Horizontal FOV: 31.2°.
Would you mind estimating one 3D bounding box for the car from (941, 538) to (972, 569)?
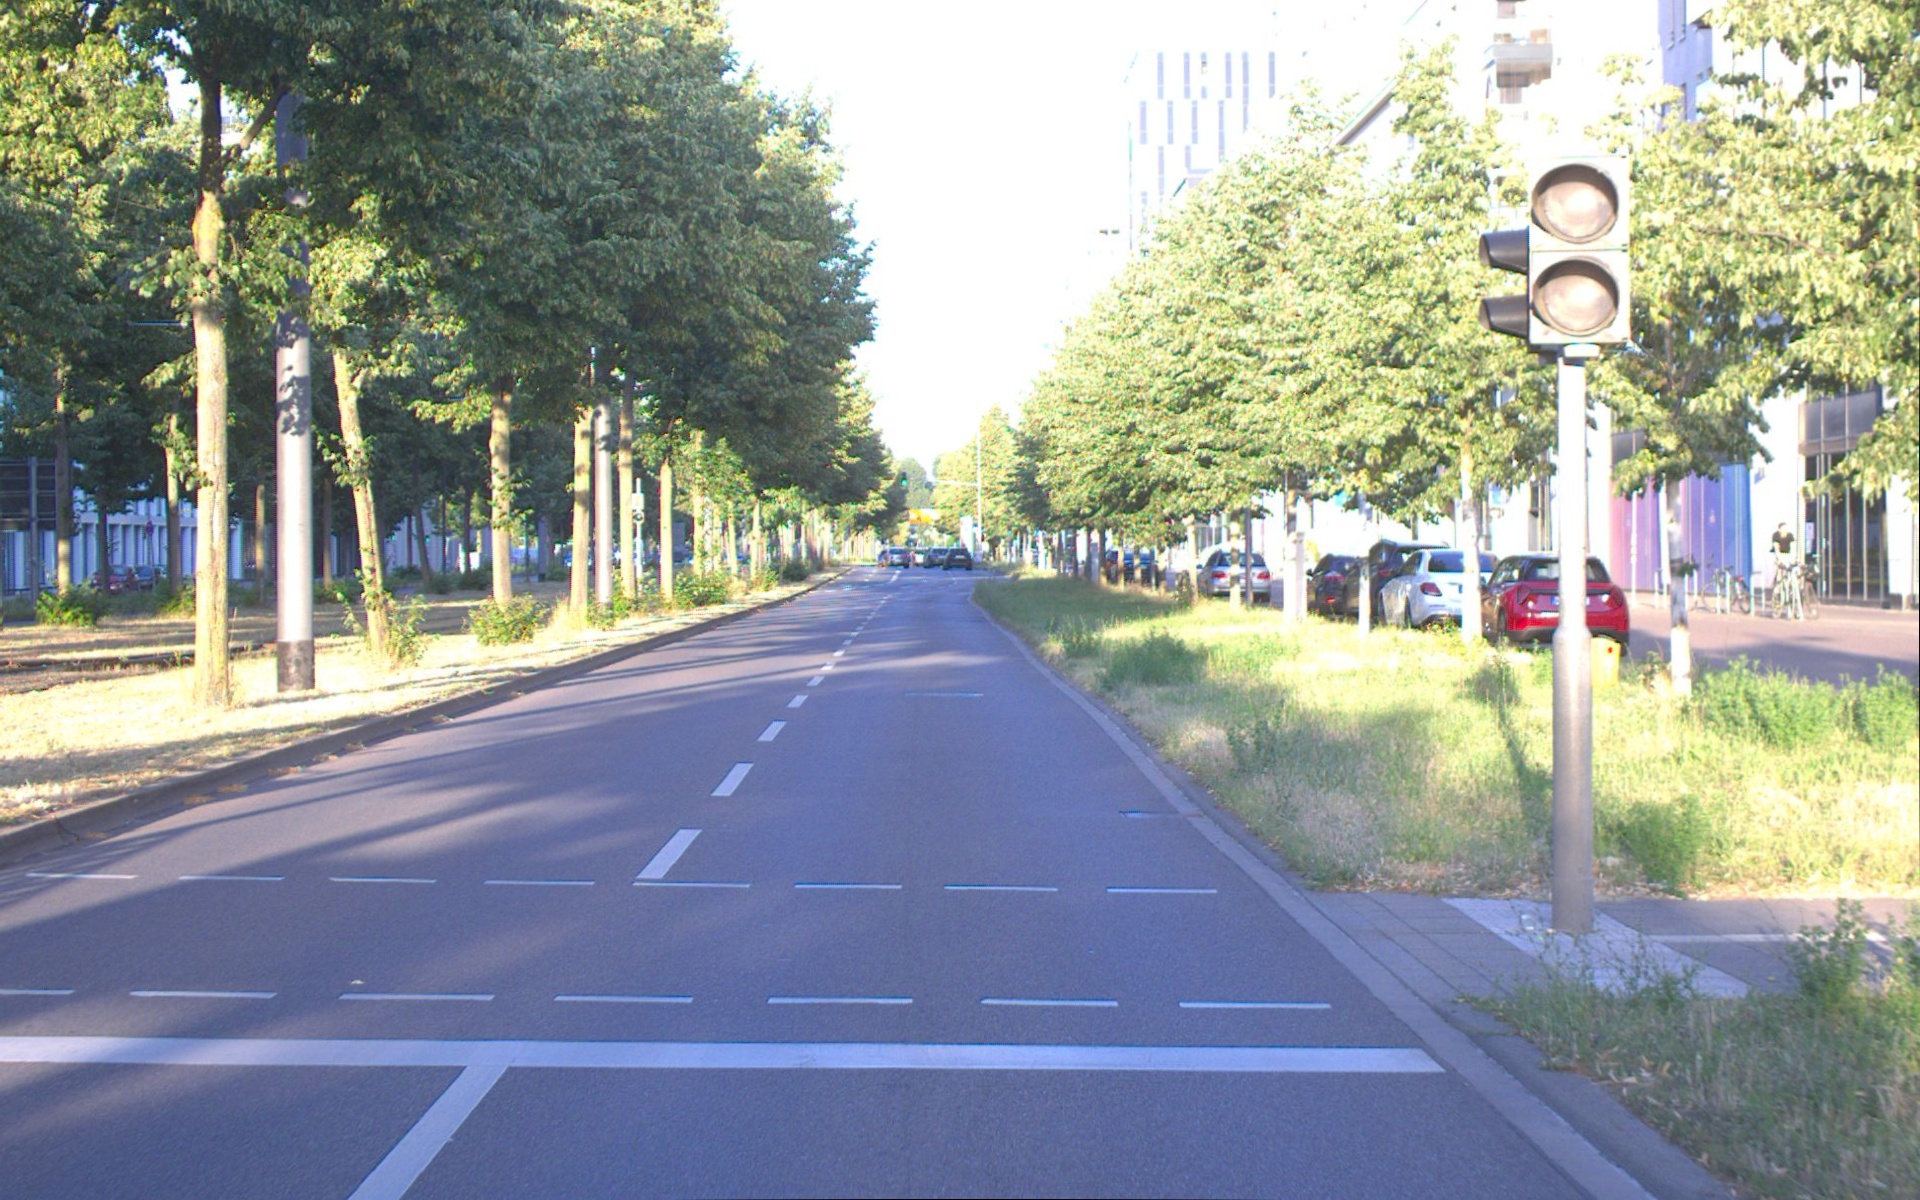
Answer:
[{"bbox_3d":[-0.226,-3.115,227.899,1.993,2.007,4.000,0,1,-1],"label":"car"}]

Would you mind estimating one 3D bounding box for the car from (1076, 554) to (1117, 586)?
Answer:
[{"bbox_3d":[6.603,-1.472,166.950,1.724,1.524,4.269,1,1,-1],"label":"car"}]

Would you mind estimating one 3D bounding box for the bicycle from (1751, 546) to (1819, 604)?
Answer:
[{"bbox_3d":[14.989,-0.457,62.537,0.620,1.029,2.261,-1,1,-2],"label":"bicycle"}]

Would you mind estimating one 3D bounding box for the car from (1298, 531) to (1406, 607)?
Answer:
[{"bbox_3d":[8.096,-0.664,71.318,1.724,1.495,4.233,1,1,0],"label":"car"}]

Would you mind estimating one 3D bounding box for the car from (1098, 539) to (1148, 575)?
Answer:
[{"bbox_3d":[7.037,-1.857,148.478,1.854,1.524,4.483,1,1,-1],"label":"car"}]

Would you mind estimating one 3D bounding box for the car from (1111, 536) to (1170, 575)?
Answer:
[{"bbox_3d":[7.424,-1.827,141.526,1.943,1.543,4.812,-1,1,-3],"label":"car"}]

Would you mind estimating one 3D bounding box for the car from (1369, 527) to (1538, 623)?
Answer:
[{"bbox_3d":[8.011,-0.443,56.212,1.920,1.495,5.010,0,1,-1],"label":"car"}]

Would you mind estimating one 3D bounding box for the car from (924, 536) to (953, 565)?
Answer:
[{"bbox_3d":[-1.529,-3.527,244.285,1.993,2.007,4.000,0,1,0],"label":"car"}]

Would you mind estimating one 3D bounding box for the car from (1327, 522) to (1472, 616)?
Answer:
[{"bbox_3d":[8.123,-0.603,63.935,1.953,1.618,4.821,2,1,-1],"label":"car"}]

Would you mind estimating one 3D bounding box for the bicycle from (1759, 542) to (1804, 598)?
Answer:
[{"bbox_3d":[16.756,-0.621,70.156,0.543,1.114,1.913,0,1,3],"label":"bicycle"}]

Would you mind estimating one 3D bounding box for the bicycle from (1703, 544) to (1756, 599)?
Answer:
[{"bbox_3d":[15.235,-0.568,68.106,0.533,1.056,1.613,-1,1,-6],"label":"bicycle"}]

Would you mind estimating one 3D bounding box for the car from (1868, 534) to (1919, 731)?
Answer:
[{"bbox_3d":[8.195,0.260,25.249,1.808,1.495,4.369,0,1,-1],"label":"car"}]

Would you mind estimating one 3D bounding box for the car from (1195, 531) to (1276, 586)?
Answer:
[{"bbox_3d":[7.782,-1.194,97.511,1.808,1.495,4.826,0,1,-1],"label":"car"}]

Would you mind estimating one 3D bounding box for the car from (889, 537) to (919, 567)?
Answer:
[{"bbox_3d":[-3.897,-3.350,238.454,2.087,2.007,4.000,0,1,-1],"label":"car"}]

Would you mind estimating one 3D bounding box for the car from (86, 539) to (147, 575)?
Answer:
[{"bbox_3d":[-37.433,-1.921,152.629,1.860,1.576,3.492,0,1,0],"label":"car"}]

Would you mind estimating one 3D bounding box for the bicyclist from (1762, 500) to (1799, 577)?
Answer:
[{"bbox_3d":[16.745,-1.249,70.161,0.544,1.563,1.019,0,1,3],"label":"bicyclist"}]

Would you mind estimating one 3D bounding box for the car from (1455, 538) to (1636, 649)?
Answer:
[{"bbox_3d":[8.253,-0.129,48.752,1.808,1.495,3.960,0,1,-1],"label":"car"}]
